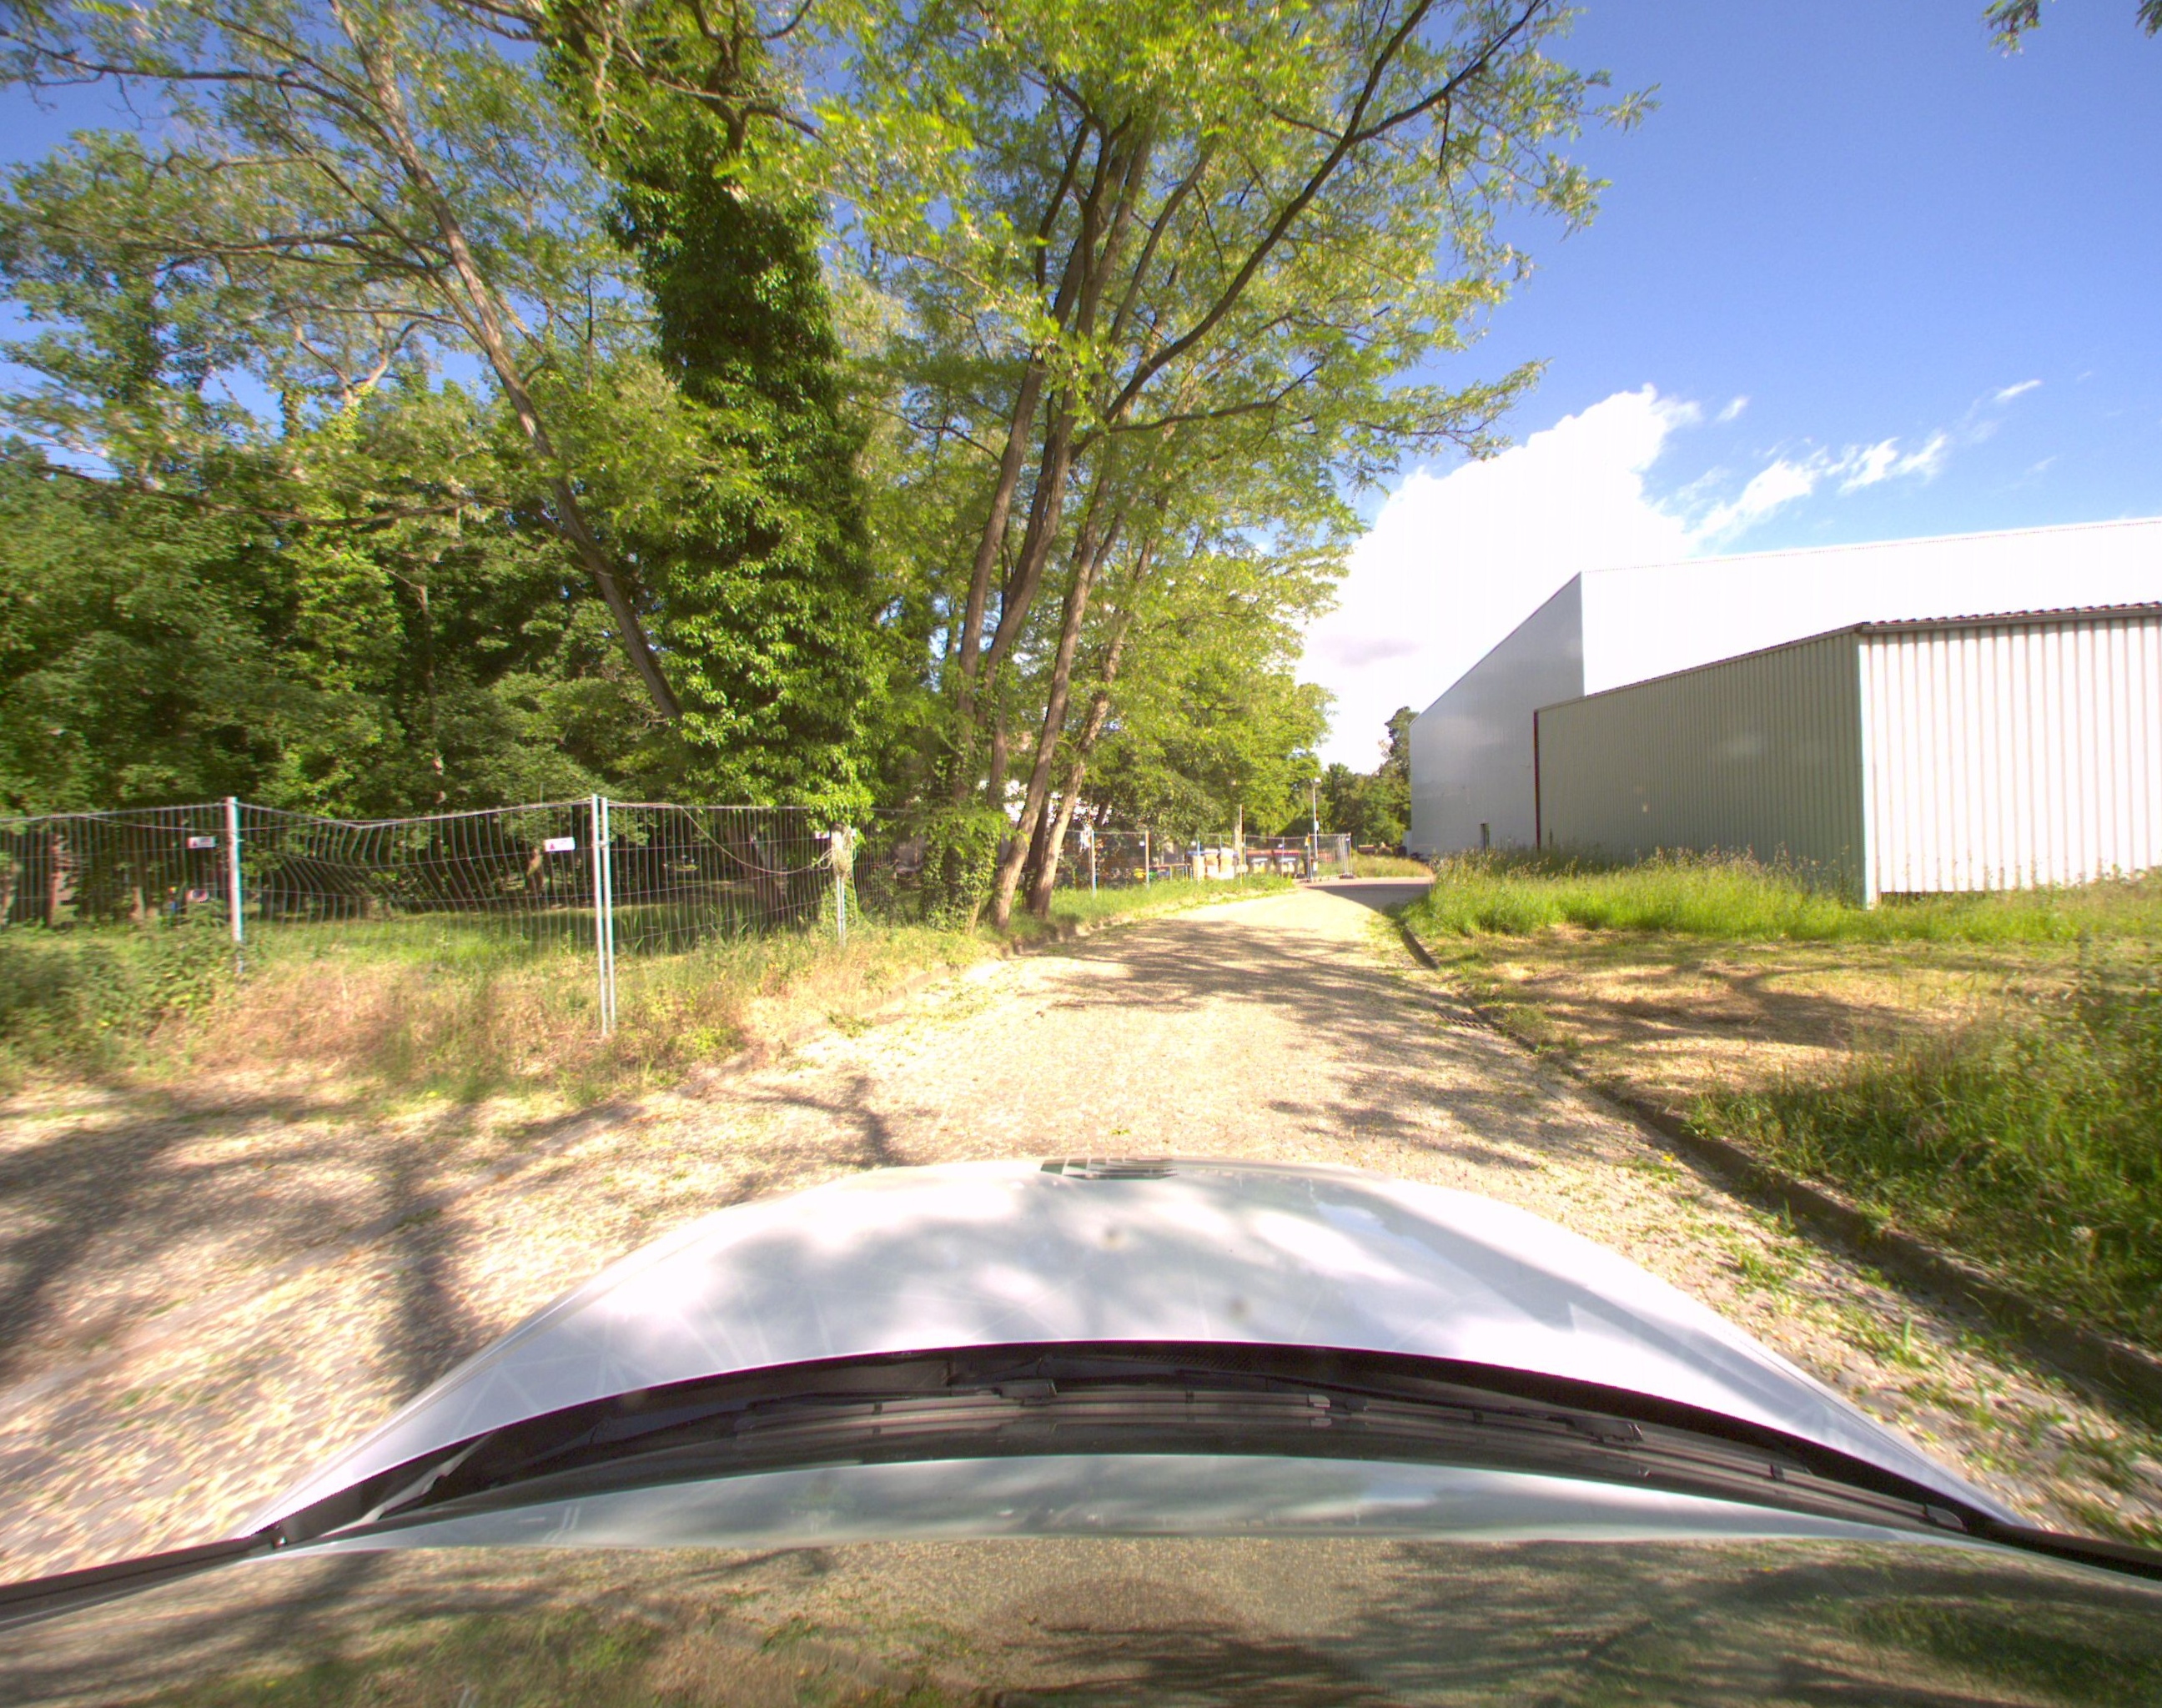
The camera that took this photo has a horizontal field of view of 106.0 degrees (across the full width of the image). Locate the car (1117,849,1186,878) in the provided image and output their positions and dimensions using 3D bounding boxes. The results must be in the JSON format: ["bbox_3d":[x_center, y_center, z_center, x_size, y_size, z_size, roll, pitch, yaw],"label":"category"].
[{"bbox_3d":[5.097,0.673,58.574,4.682,1.902,2.005,-2,-1,8],"label":"car"}]

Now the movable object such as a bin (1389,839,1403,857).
[{"bbox_3d":[36.874,-0.724,95.241,1.407,2.013,1.130,-1,0,17],"label":"movable object such as a bin"}]

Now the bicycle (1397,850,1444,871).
[{"bbox_3d":[21.447,0.427,51.487,2.610,1.266,1.146,-1,0,17],"label":"bicycle"}]

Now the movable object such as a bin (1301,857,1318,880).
[{"bbox_3d":[11.151,0.694,39.732,0.730,1.097,0.823,-1,0,16],"label":"movable object such as a bin"}]

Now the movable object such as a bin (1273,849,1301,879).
[{"bbox_3d":[10.153,0.492,40.091,1.238,1.444,0.704,-1,0,7],"label":"movable object such as a bin"}]

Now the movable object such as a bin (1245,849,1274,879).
[{"bbox_3d":[8.846,0.490,40.340,1.330,1.484,0.808,-1,0,6],"label":"movable object such as a bin"}]

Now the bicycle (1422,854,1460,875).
[{"bbox_3d":[19.259,0.568,43.566,1.779,1.082,0.527,-1,0,14],"label":"bicycle"}]

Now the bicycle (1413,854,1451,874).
[{"bbox_3d":[19.859,0.561,46.057,1.875,1.095,0.527,-1,-1,11],"label":"bicycle"}]

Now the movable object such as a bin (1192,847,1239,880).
[{"bbox_3d":[6.674,0.473,40.503,2.276,1.591,1.177,-1,0,7],"label":"movable object such as a bin"}]
